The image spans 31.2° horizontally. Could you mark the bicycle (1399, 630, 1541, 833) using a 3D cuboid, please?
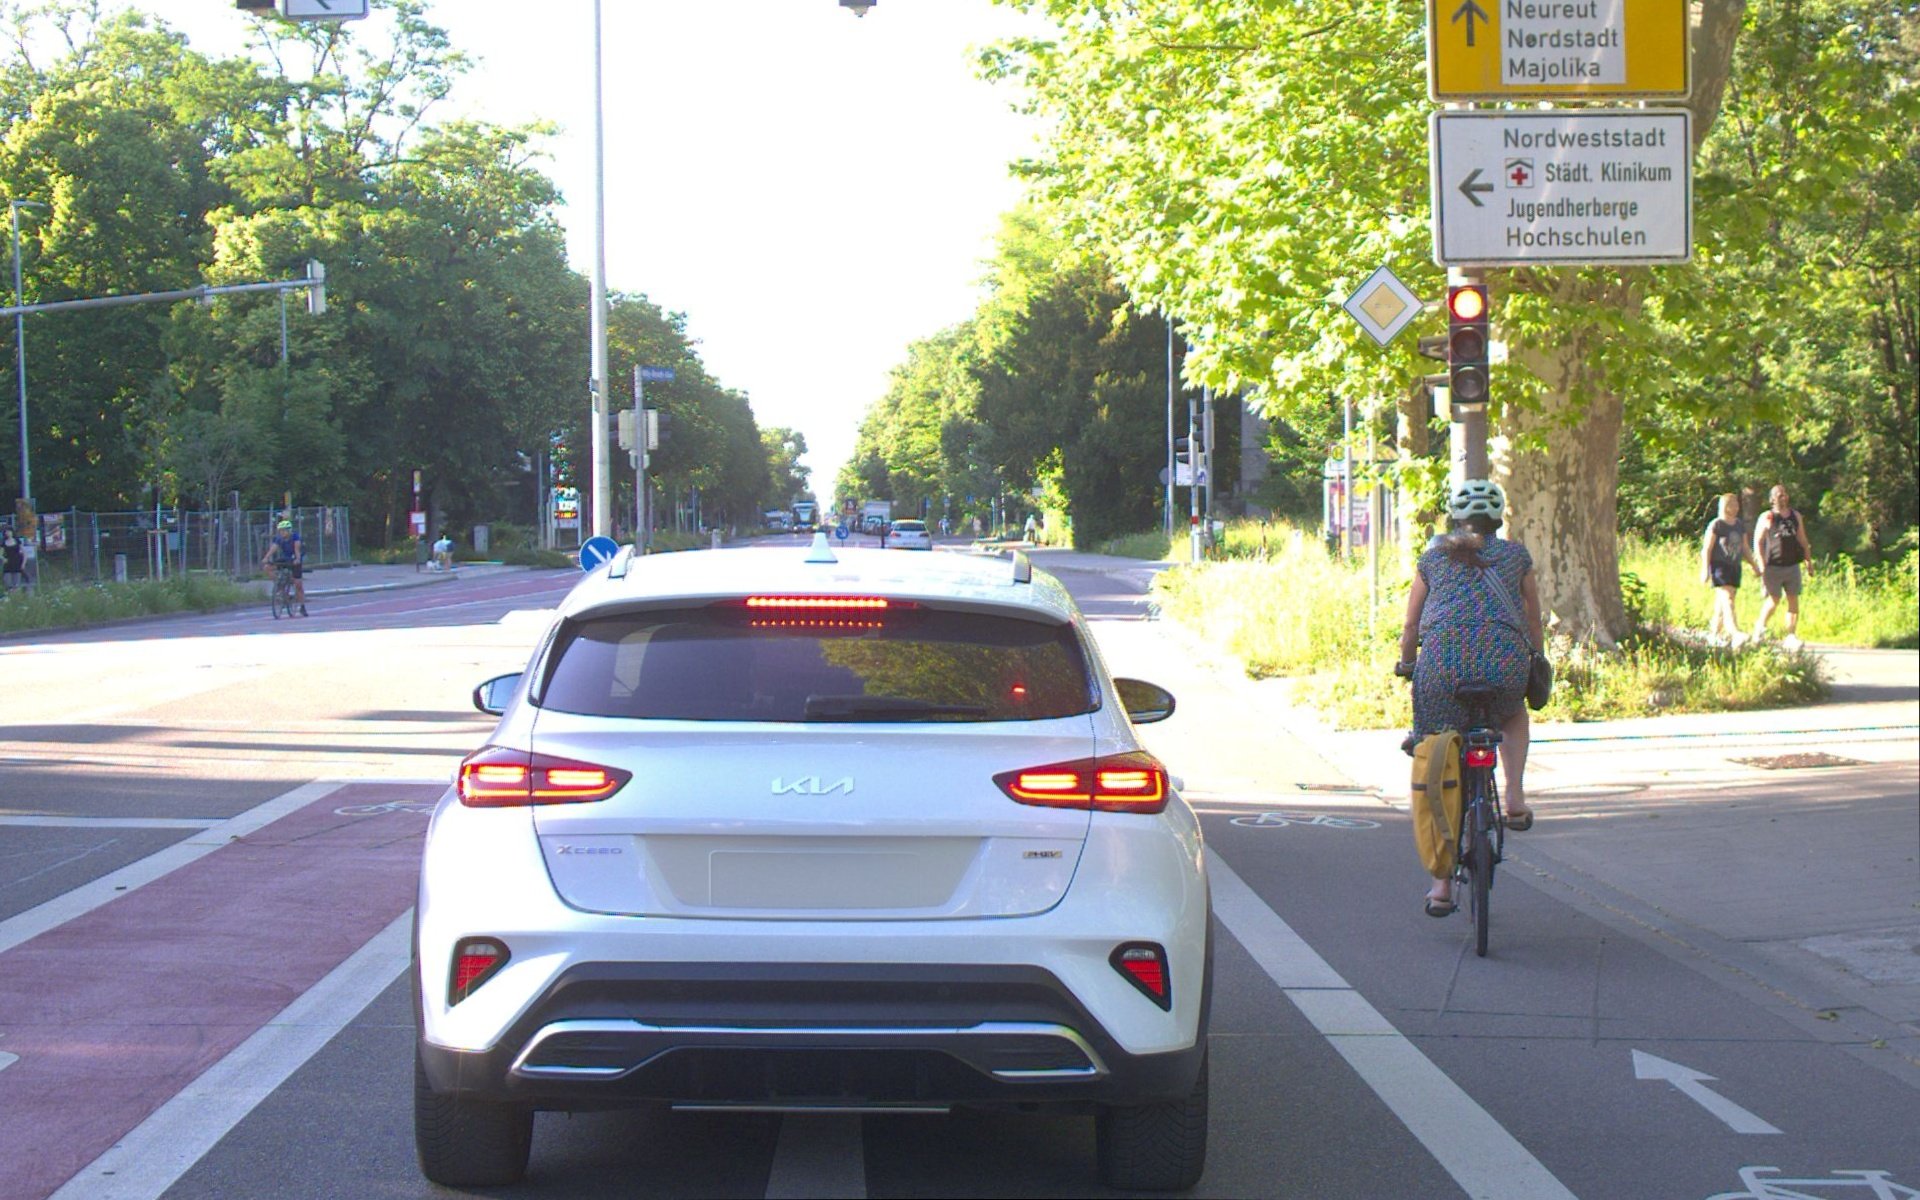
[{"bbox_3d":[2.644,0.661,17.923,0.401,0.953,1.551,-3,1,-2],"label":"bicycle"}]

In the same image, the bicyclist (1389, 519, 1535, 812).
[{"bbox_3d":[2.619,0.330,17.974,0.554,1.473,0.717,-3,1,-2],"label":"bicyclist"}]

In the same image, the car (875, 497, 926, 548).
[{"bbox_3d":[-2.421,-3.190,140.954,1.993,2.007,4.000,-1,1,-1],"label":"car"}]

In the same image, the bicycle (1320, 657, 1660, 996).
[{"bbox_3d":[1.905,0.779,12.758,0.758,1.009,2.570,1,1,-2],"label":"bicycle"}]

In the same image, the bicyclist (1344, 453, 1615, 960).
[{"bbox_3d":[1.912,0.365,12.799,0.753,1.789,1.165,1,1,-2],"label":"bicyclist"}]

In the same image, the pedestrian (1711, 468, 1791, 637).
[{"bbox_3d":[8.390,-0.510,36.488,0.615,1.765,0.647,-1,1,-7],"label":"pedestrian"}]

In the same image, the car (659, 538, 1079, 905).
[{"bbox_3d":[-0.447,0.475,16.163,1.728,1.478,3.517,-1,1,-2],"label":"car"}]

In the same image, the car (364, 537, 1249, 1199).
[{"bbox_3d":[-0.378,0.587,9.060,1.821,1.475,3.937,0,1,-2],"label":"car"}]

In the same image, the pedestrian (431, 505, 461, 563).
[{"bbox_3d":[-15.926,-2.046,106.533,0.785,1.779,0.751,0,1,0],"label":"pedestrian"}]

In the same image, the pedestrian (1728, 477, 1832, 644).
[{"bbox_3d":[8.815,-0.429,36.996,0.817,1.765,0.832,-1,1,-7],"label":"pedestrian"}]

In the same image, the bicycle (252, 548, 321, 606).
[{"bbox_3d":[-12.119,-0.424,61.916,0.663,0.985,2.504,-1,1,2],"label":"bicycle"}]

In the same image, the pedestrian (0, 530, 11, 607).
[{"bbox_3d":[-20.533,-0.652,71.980,1.087,1.598,1.001,-1,1,-7],"label":"pedestrian"}]

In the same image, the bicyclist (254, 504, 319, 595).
[{"bbox_3d":[-12.133,-0.925,61.939,0.875,1.603,1.188,-1,1,2],"label":"bicyclist"}]

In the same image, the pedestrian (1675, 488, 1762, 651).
[{"bbox_3d":[7.998,-0.327,36.264,0.689,1.693,0.644,-1,1,-7],"label":"pedestrian"}]

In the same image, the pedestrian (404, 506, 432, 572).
[{"bbox_3d":[-16.717,-1.886,106.051,0.641,2.007,0.753,0,1,10],"label":"pedestrian"}]
